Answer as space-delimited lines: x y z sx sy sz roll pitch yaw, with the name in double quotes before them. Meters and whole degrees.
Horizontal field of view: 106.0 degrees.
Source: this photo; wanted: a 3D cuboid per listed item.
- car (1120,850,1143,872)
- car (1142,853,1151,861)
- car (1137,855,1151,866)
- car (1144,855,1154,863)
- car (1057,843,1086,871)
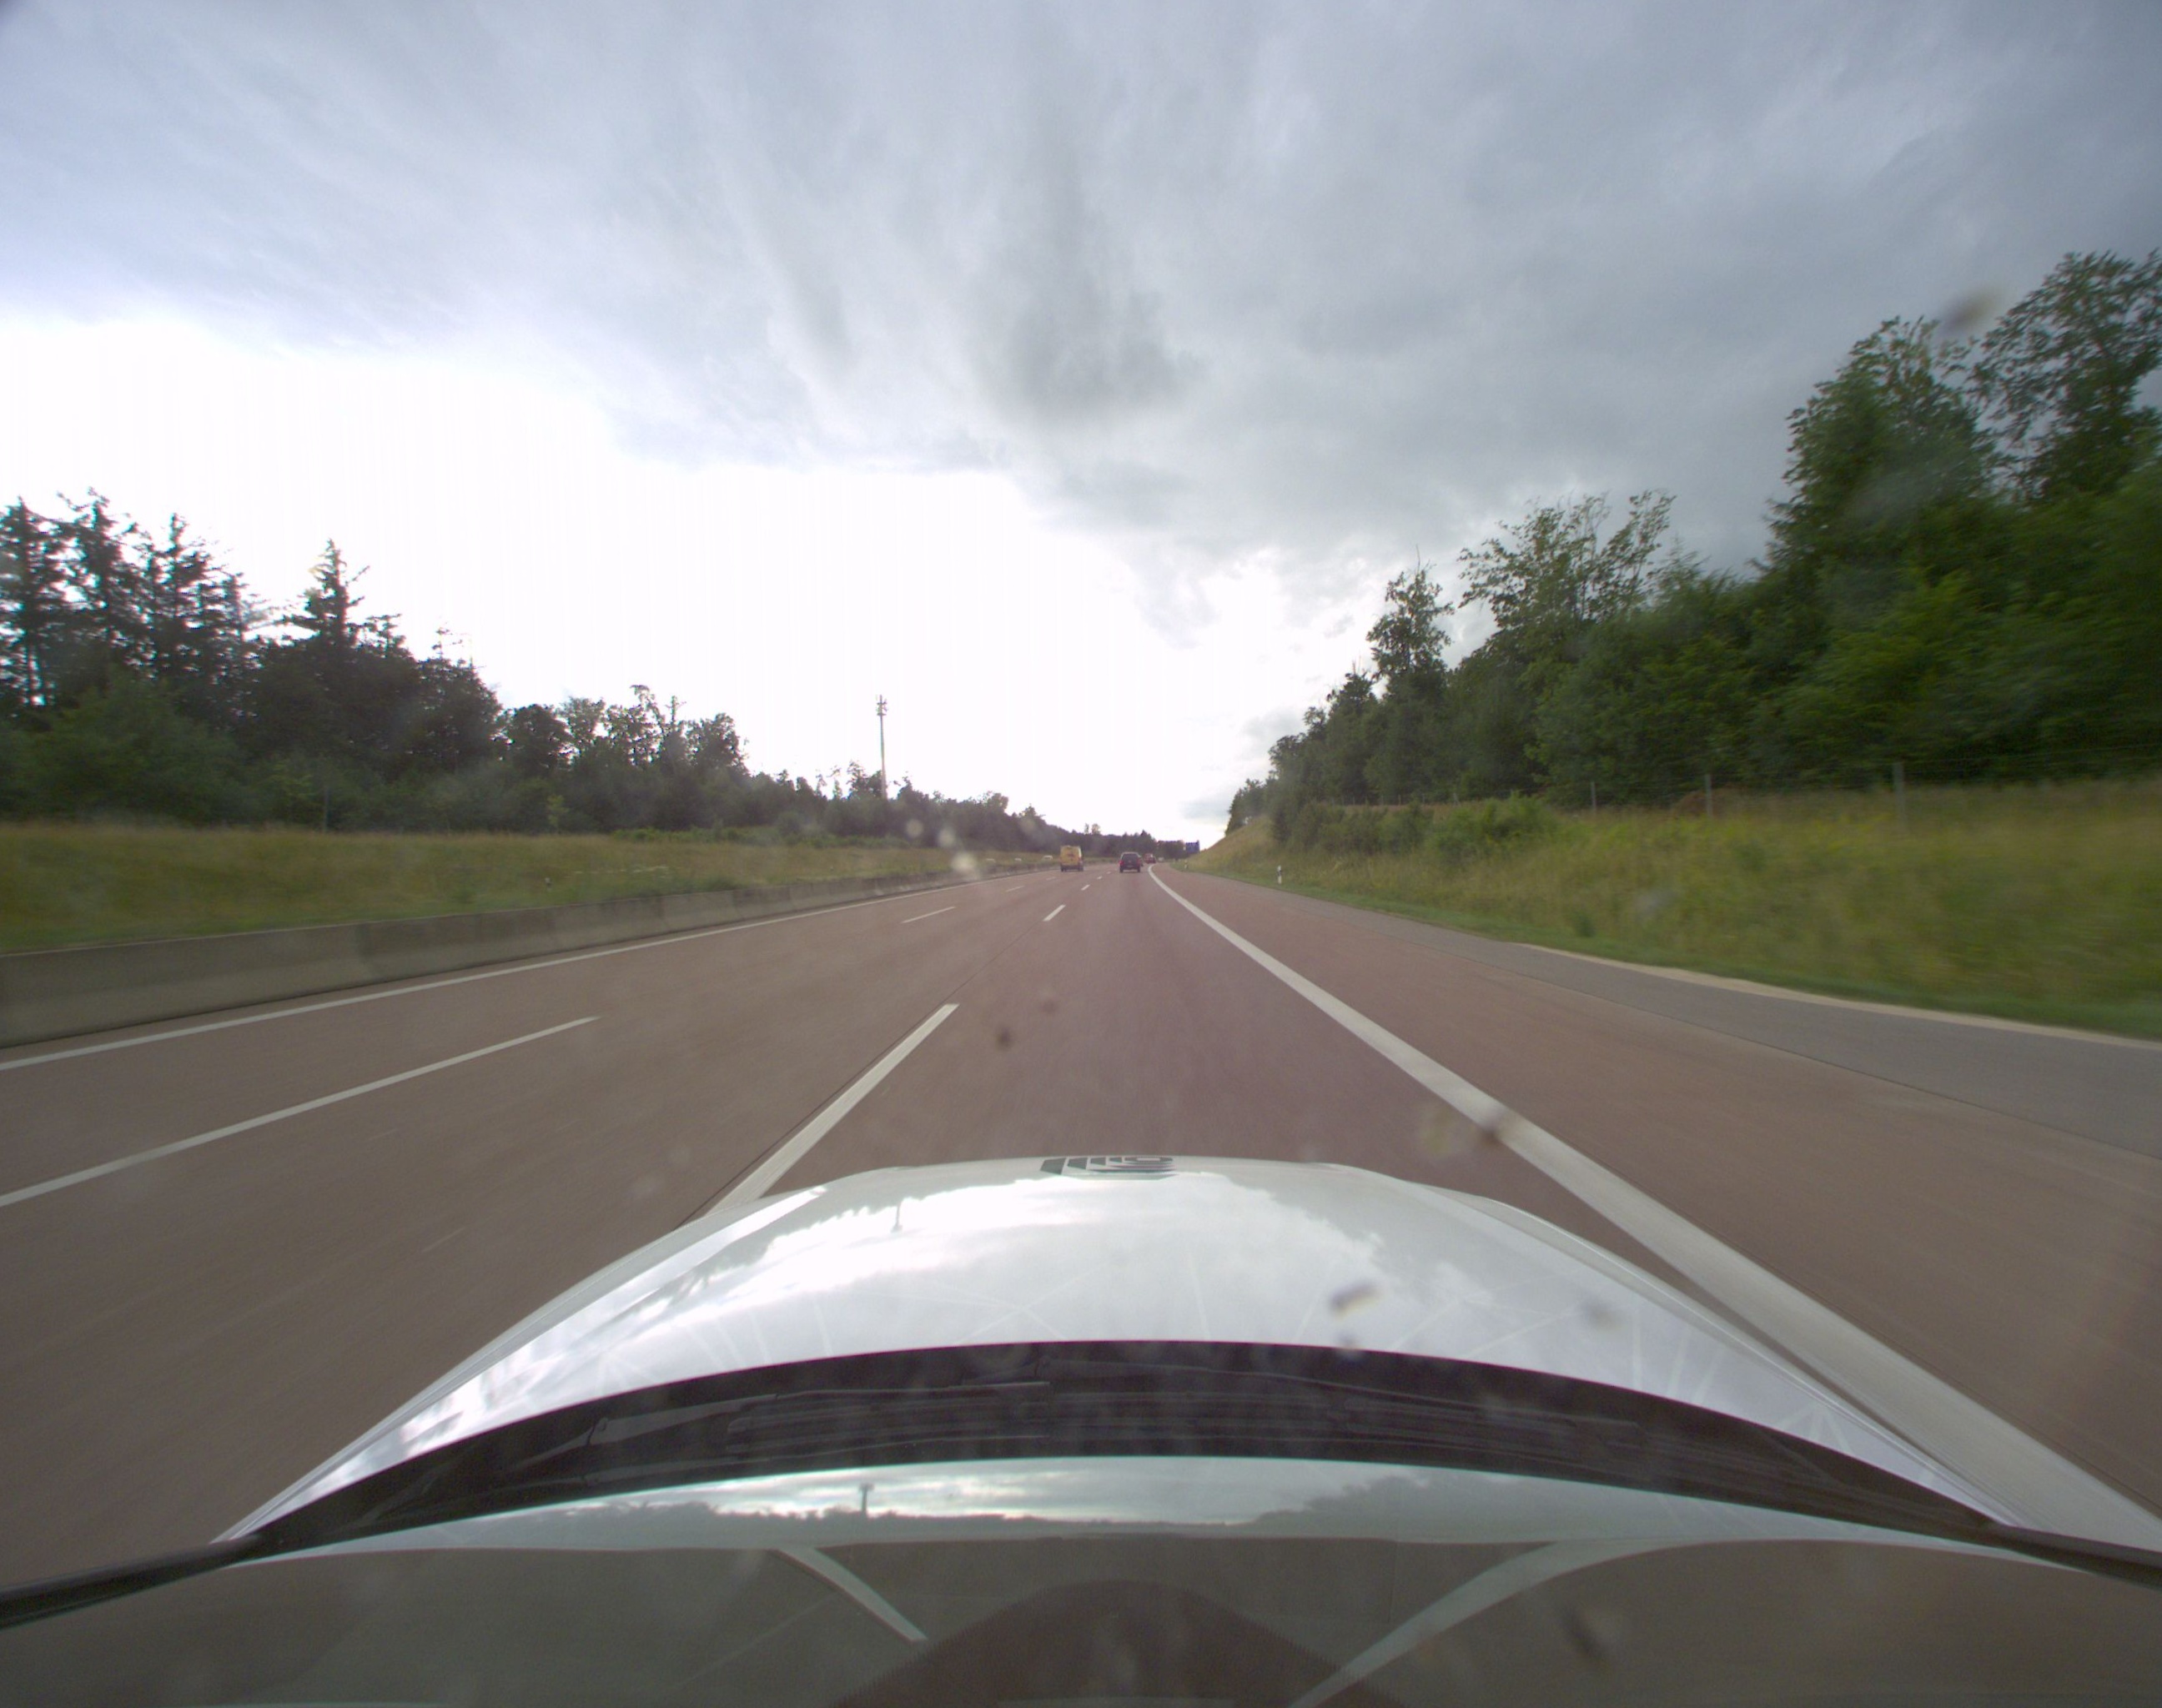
"car" 4.771 0.714 76.462 2.035 1.897 5.581 -2 -2 3
"car" 19.174 0.940 239.029 2.228 2.430 6.220 -1 0 9
"car" 9.319 0.999 120.127 1.968 1.648 4.624 -1 -1 4
"car" 15.090 1.105 180.577 1.970 1.648 4.621 -2 -2 3
"car" -0.969 0.358 87.097 2.447 2.706 5.620 -2 -2 5
